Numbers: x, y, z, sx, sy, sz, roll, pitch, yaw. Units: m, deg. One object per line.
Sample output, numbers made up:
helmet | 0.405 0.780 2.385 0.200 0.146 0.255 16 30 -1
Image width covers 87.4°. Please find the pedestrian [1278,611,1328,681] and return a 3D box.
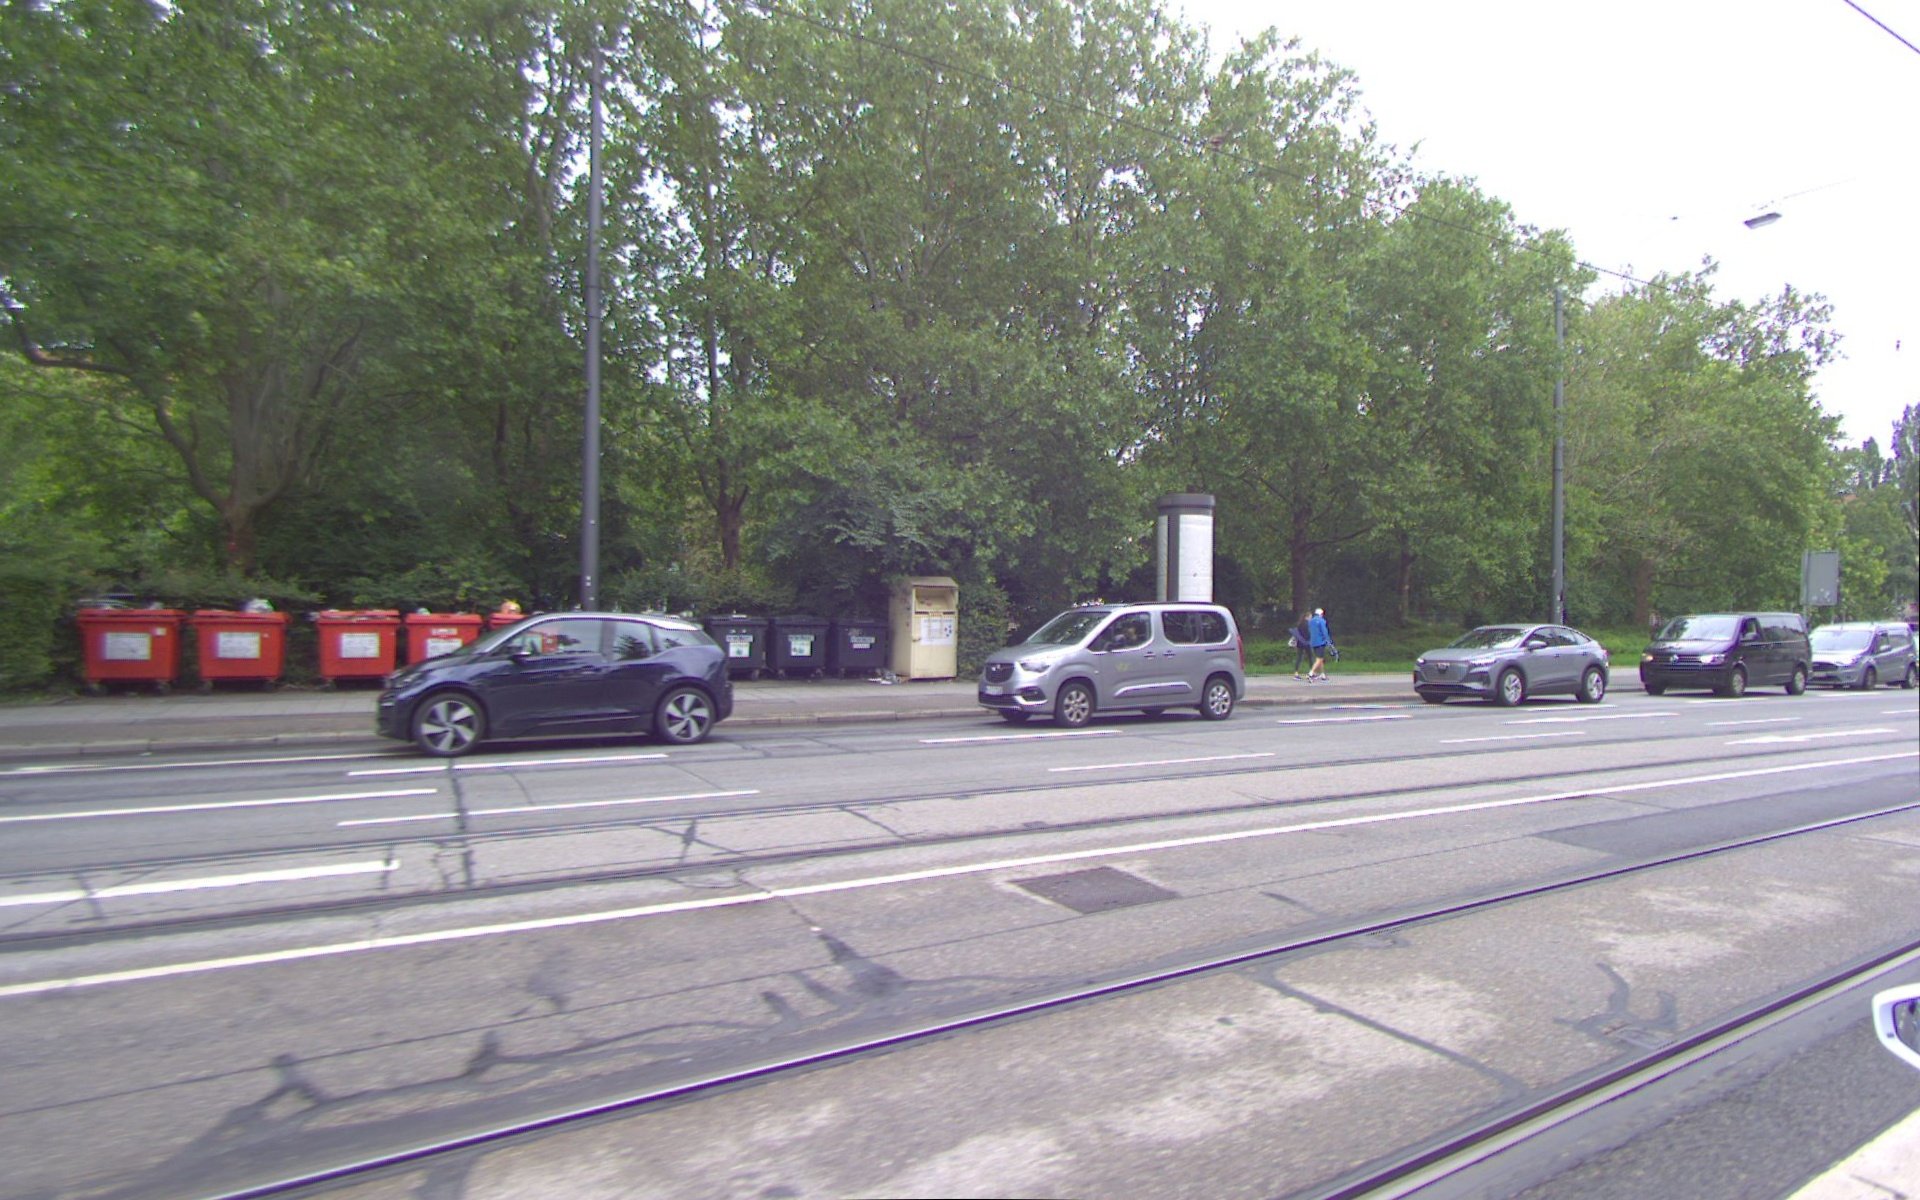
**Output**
pedestrian | 8.604 1.141 25.208 0.973 1.707 0.663 -1 1 -21

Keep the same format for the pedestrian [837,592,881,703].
pedestrian | -1.911 0.874 18.924 0.670 2.041 0.613 -1 1 -23

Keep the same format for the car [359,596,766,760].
car | -4.712 0.864 12.172 4.302 1.689 1.792 1 -2 -29

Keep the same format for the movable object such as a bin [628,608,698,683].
movable object such as a bin | -5.857 0.881 19.802 1.071 1.371 0.928 1 2 -33

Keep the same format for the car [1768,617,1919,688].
car | 24.402 1.439 27.657 4.464 1.812 1.792 1 -3 -29

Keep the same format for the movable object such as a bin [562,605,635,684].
movable object such as a bin | -6.868 0.827 19.070 1.071 1.371 0.928 1 4 -33

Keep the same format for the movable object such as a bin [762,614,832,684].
movable object such as a bin | -3.415 1.010 21.011 1.146 1.371 0.928 1 2 -33

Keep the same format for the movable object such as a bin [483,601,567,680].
movable object such as a bin | -7.998 0.722 18.477 1.264 1.371 0.928 1 1 -33

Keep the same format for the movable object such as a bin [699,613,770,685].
movable object such as a bin | -4.592 0.988 20.443 1.146 1.371 0.928 1 2 -33

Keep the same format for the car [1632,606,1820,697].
car | 18.461 1.209 24.162 4.978 2.017 1.792 1 -2 -29

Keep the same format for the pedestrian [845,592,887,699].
pedestrian | -1.844 0.868 19.688 0.669 2.041 0.613 -1 1 -22

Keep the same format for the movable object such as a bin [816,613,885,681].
movable object such as a bin | -2.370 0.997 21.749 1.146 1.371 0.928 1 2 -33

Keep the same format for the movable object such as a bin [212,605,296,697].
movable object such as a bin | -11.543 0.813 16.462 1.071 1.371 0.928 1 5 -33

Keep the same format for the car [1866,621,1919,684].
car | 29.451 1.589 30.303 4.464 1.812 1.792 1 -3 -29

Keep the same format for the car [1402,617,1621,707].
car | 11.244 1.216 20.416 4.533 1.656 1.792 1 -2 -29

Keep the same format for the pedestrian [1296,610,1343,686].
pedestrian | 8.795 1.159 24.560 0.806 1.813 0.663 2 0 -20

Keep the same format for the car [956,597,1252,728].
car | 2.292 0.926 15.665 4.418 1.803 1.792 1 -2 -29

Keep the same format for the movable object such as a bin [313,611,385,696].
movable object such as a bin | -10.344 0.883 17.004 1.003 1.371 0.928 1 0 -33

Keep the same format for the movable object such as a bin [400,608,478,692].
movable object such as a bin | -9.226 0.863 17.772 1.117 1.371 0.928 1 2 -33
